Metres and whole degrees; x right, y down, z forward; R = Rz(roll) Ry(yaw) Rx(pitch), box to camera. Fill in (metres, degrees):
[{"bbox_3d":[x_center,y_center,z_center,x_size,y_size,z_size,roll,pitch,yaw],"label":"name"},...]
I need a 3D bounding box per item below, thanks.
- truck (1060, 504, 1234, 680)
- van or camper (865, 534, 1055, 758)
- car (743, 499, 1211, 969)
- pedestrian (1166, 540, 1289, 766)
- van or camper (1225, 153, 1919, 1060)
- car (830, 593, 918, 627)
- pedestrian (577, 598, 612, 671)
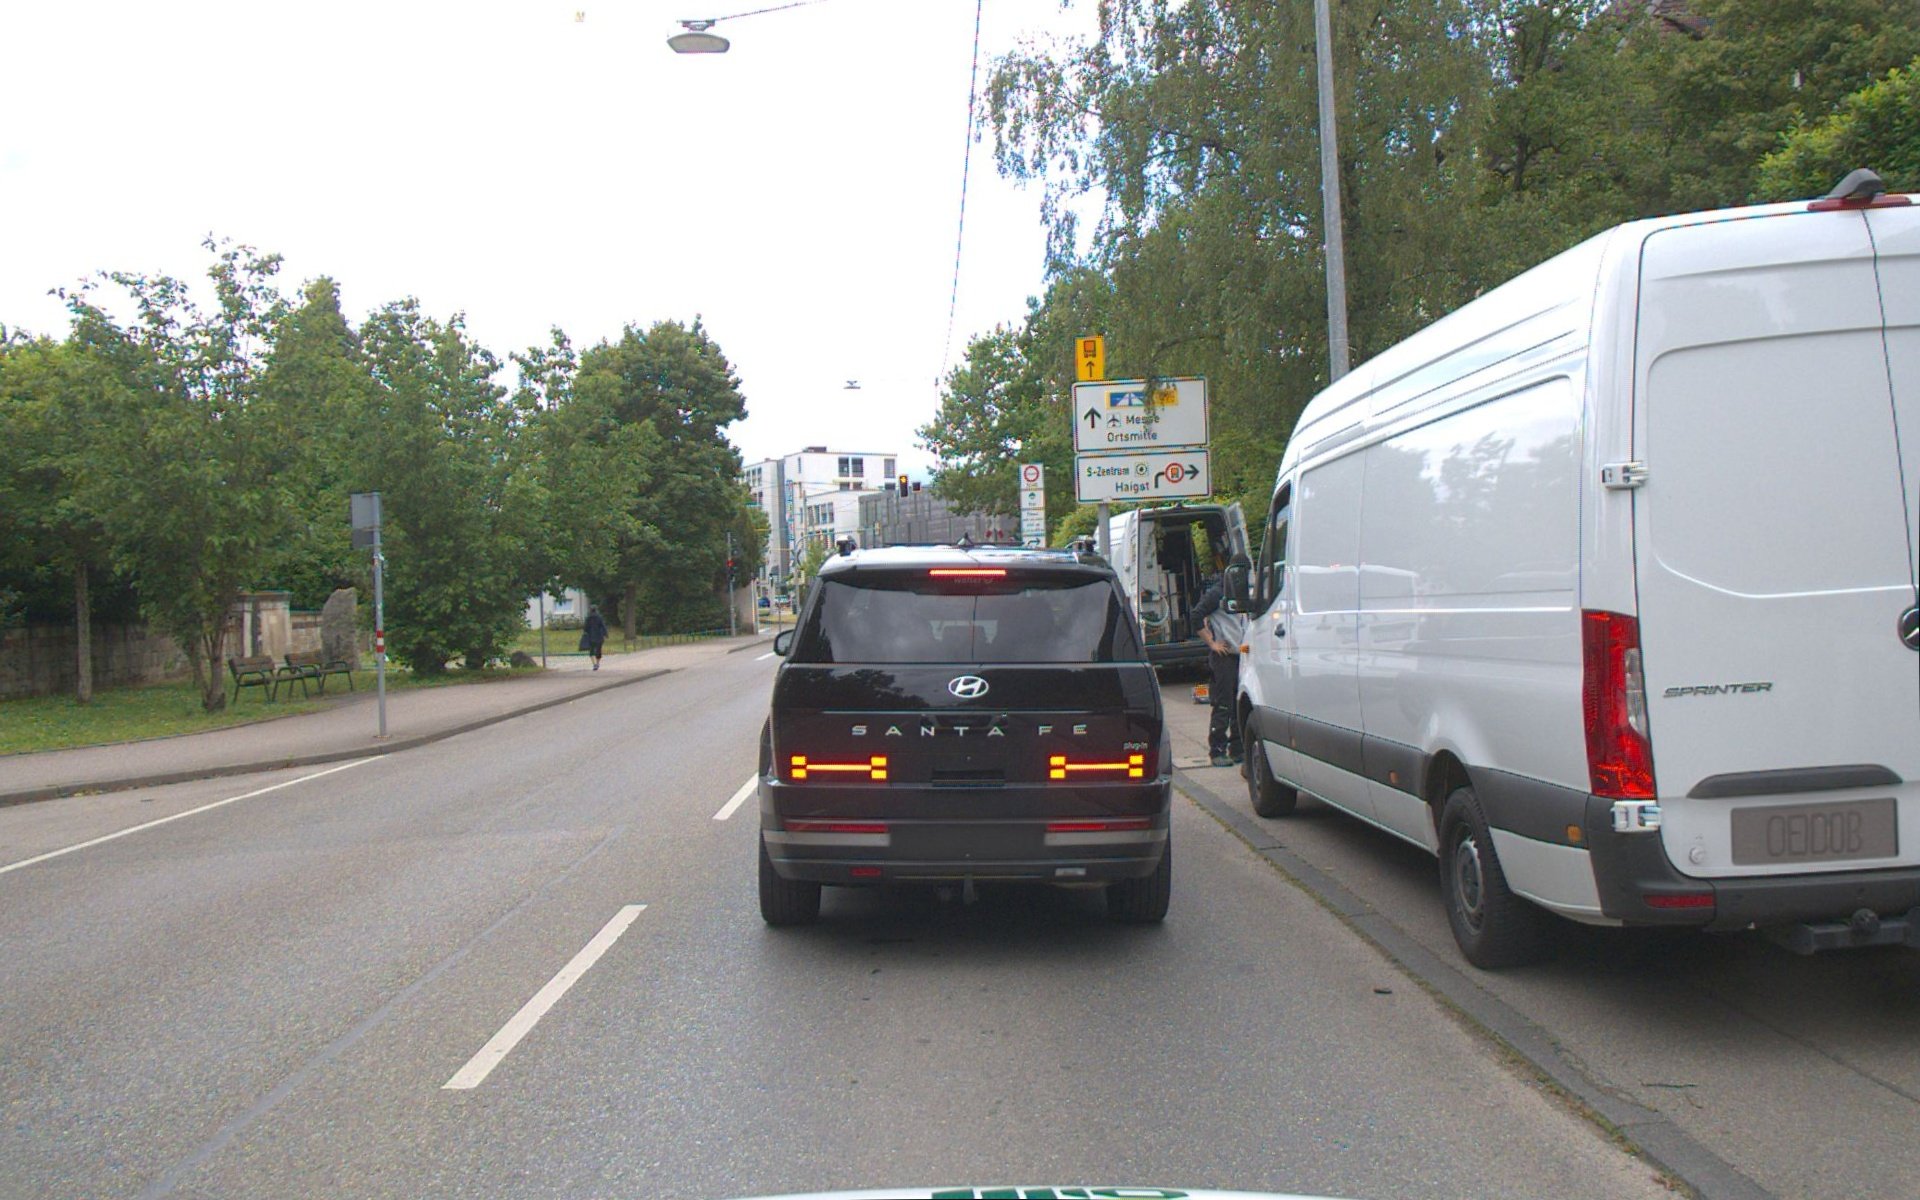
[{"bbox_3d":[3.039,-0.115,28.048,1.904,2.606,5.212,-3,0,-4],"label":"truck"},{"bbox_3d":[-0.027,0.425,17.493,1.719,2.049,3.999,-2,0,-1],"label":"van or camper"},{"bbox_3d":[0.043,0.520,8.549,1.851,1.851,3.999,0,0,-1],"label":"car"},{"bbox_3d":[2.250,0.434,13.976,0.852,1.828,0.759,-2,0,-2],"label":"pedestrian"},{"bbox_3d":[2.895,-0.011,8.188,1.953,2.665,6.540,-2,0,-1],"label":"van or camper"},{"bbox_3d":[-4.678,0.542,89.920,4.616,1.778,1.997,1,0,-8],"label":"car"},{"bbox_3d":[-8.951,0.830,40.547,0.724,1.745,0.791,-2,0,-8],"label":"pedestrian"}]
